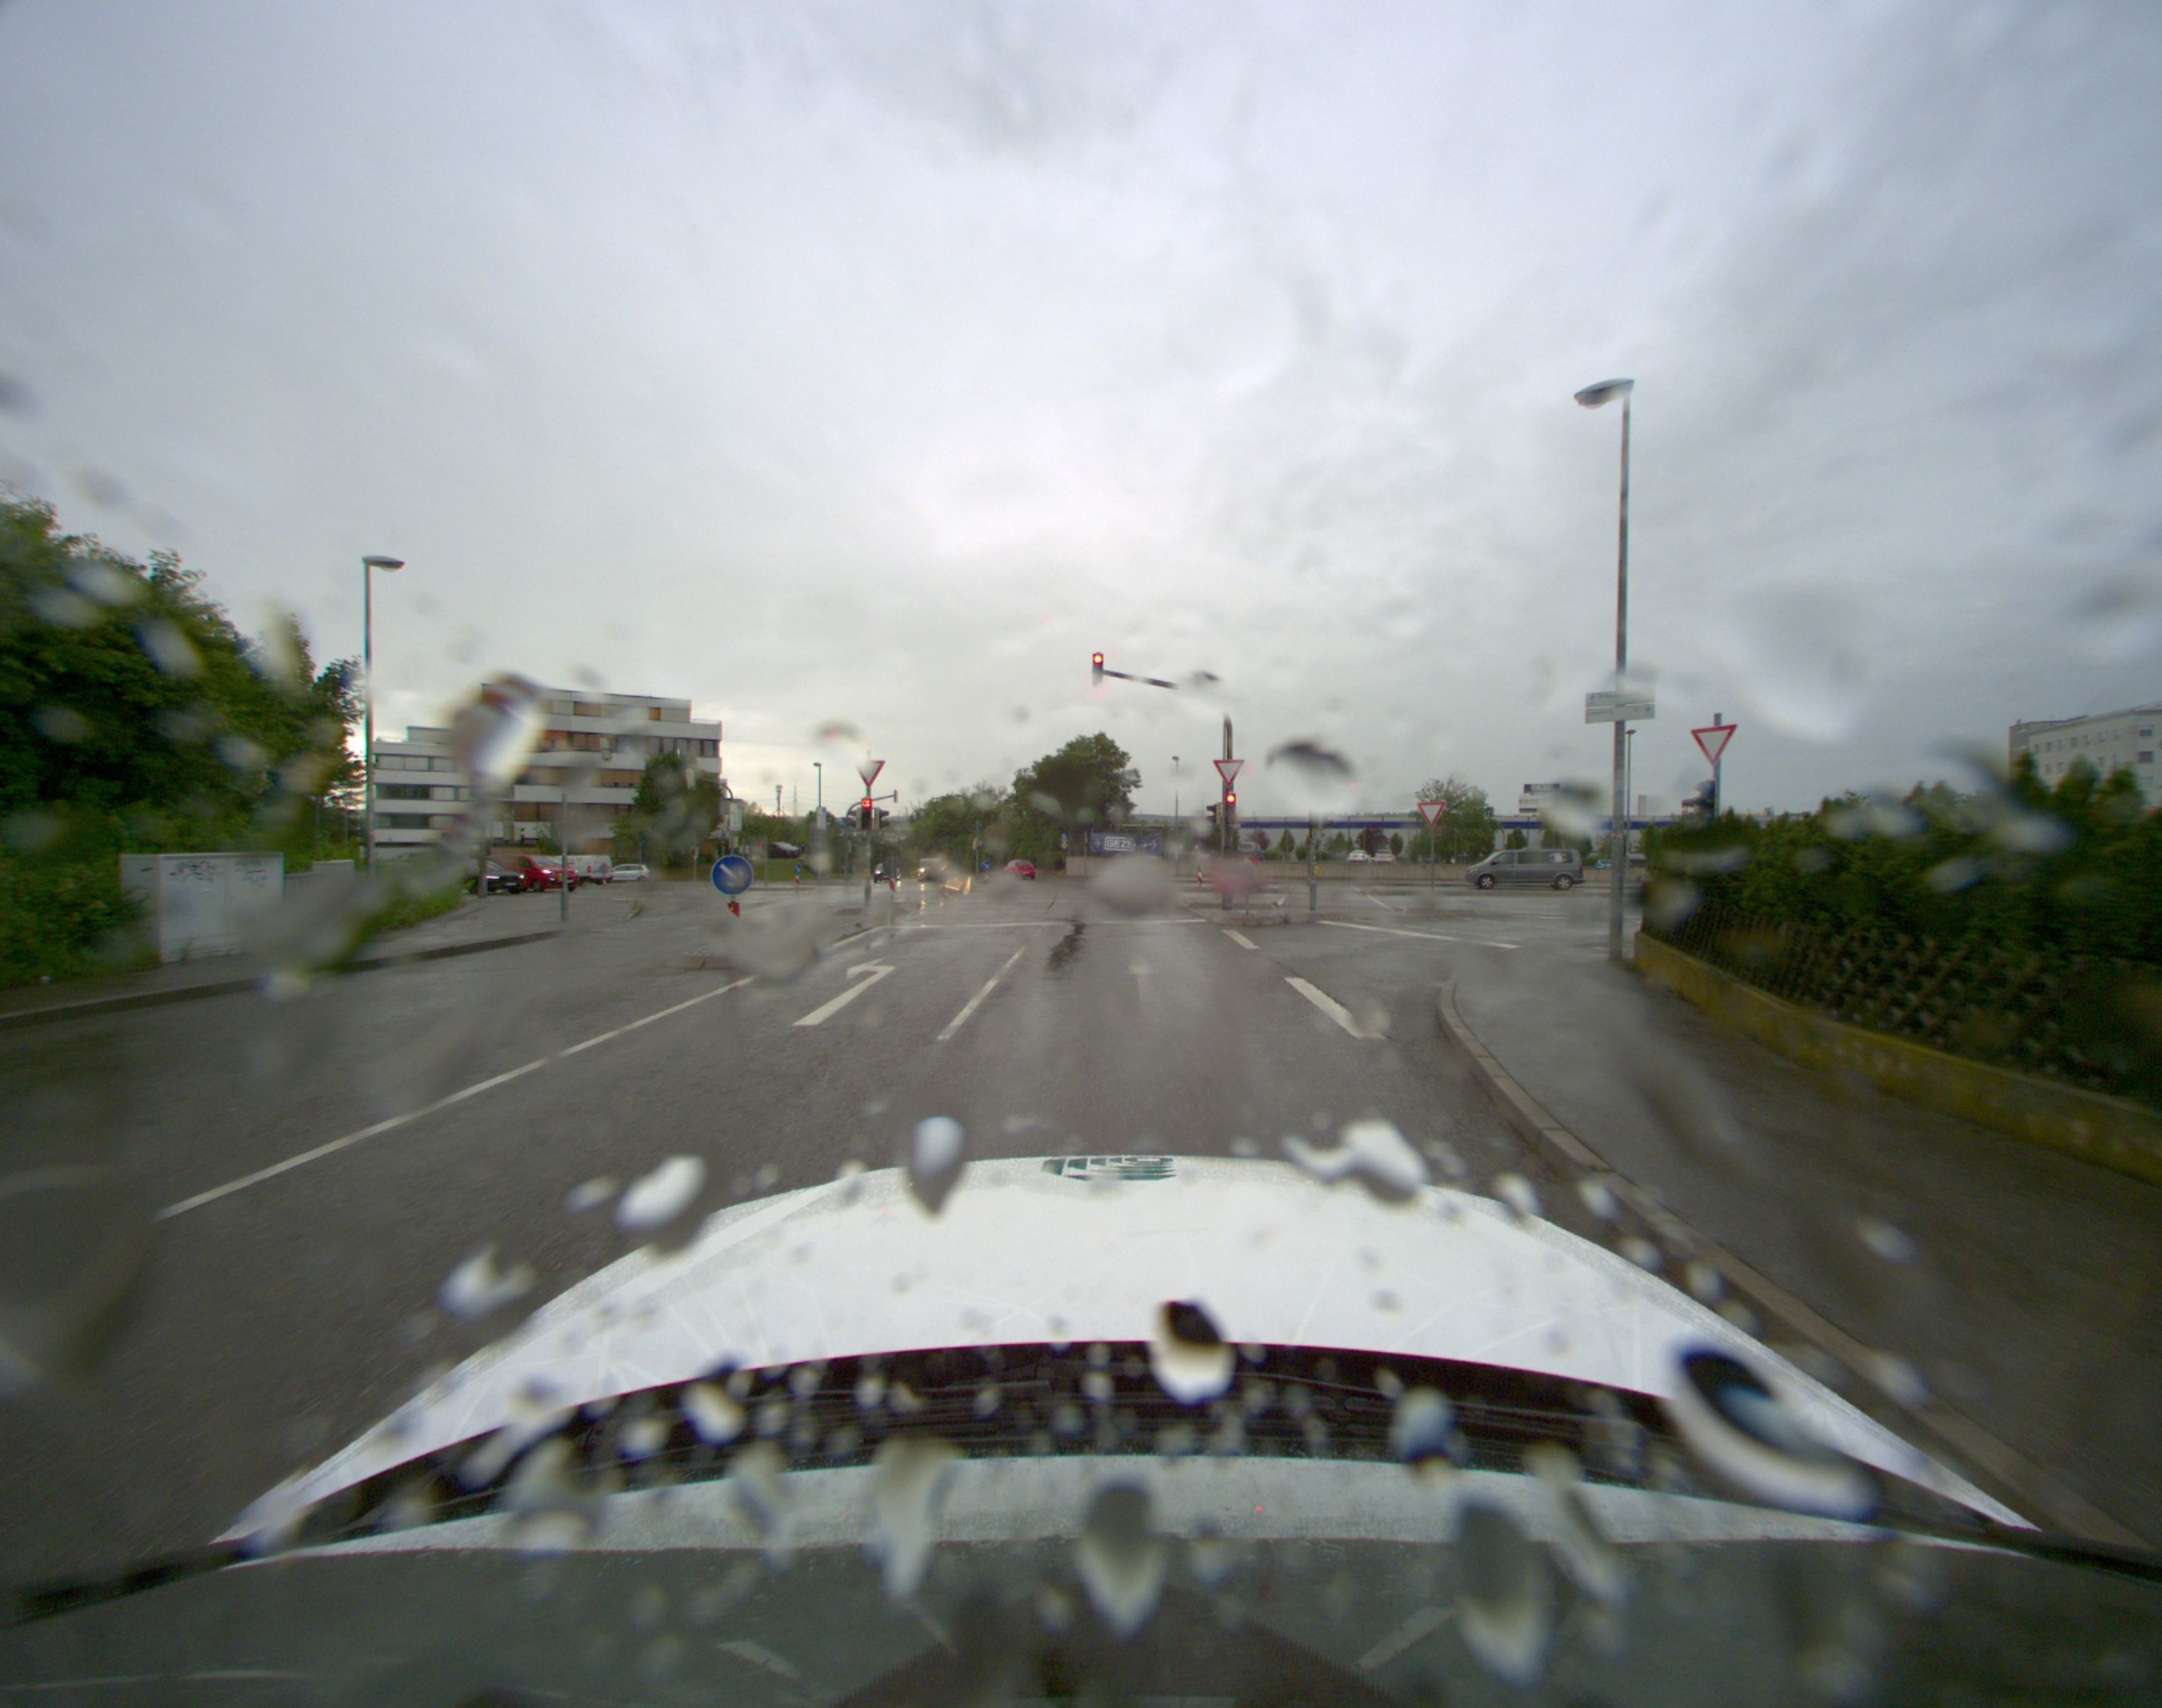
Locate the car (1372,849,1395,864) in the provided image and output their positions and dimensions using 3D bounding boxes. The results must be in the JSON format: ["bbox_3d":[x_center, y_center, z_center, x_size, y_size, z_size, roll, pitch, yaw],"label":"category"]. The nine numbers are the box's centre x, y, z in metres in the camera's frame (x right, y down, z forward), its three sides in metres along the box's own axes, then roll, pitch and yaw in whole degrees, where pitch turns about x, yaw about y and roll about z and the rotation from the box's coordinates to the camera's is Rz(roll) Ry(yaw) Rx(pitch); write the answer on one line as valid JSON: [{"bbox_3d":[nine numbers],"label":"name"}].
[{"bbox_3d":[30.423,0.224,81.820,1.976,1.478,4.022,0,0,22],"label":"car"}]

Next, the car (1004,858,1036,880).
[{"bbox_3d":[-4.601,1.119,60.797,1.619,1.448,3.785,1,1,-17],"label":"car"}]

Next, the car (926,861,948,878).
[{"bbox_3d":[-16.914,1.778,95.350,1.999,1.907,3.975,1,1,-19],"label":"car"}]

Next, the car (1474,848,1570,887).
[{"bbox_3d":[21.700,0.627,40.264,3.954,1.849,2.010,0,0,20],"label":"car"}]

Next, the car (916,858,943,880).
[{"bbox_3d":[-11.811,1.162,63.471,1.995,1.618,3.984,0,0,-12],"label":"car"}]

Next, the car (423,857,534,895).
[{"bbox_3d":[-28.043,1.022,37.881,4.576,1.679,2.045,-1,0,22],"label":"car"}]

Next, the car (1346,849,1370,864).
[{"bbox_3d":[28.130,0.221,82.543,1.976,1.478,4.022,0,0,23],"label":"car"}]

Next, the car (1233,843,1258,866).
[{"bbox_3d":[14.659,0.042,72.491,1.979,2.013,4.016,0,0,14],"label":"car"}]

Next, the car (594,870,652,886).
[{"bbox_3d":[-33.626,1.755,59.907,3.521,1.105,1.806,0,0,-25],"label":"car"}]

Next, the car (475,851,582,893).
[{"bbox_3d":[-27.740,0.865,40.932,4.732,2.013,2.010,-1,0,19],"label":"car"}]

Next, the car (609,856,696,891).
[{"bbox_3d":[-23.885,1.042,45.423,4.108,1.840,2.009,0,0,18],"label":"car"}]

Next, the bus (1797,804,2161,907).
[{"bbox_3d":[33.566,0.007,28.701,12.171,3.321,3.091,1,0,22],"label":"bus"}]

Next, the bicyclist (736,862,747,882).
[{"bbox_3d":[-24.597,1.313,59.071,0.542,1.446,0.602,-1,0,-4],"label":"bicyclist"}]

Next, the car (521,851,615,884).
[{"bbox_3d":[-31.951,0.815,50.748,4.962,2.013,2.007,0,0,13],"label":"car"}]

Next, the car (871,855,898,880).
[{"bbox_3d":[-15.558,1.062,64.266,1.997,1.895,3.979,0,-1,-15],"label":"car"}]

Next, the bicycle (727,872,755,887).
[{"bbox_3d":[-24.651,1.823,59.071,1.770,1.052,0.609,0,0,-4],"label":"bicycle"}]
